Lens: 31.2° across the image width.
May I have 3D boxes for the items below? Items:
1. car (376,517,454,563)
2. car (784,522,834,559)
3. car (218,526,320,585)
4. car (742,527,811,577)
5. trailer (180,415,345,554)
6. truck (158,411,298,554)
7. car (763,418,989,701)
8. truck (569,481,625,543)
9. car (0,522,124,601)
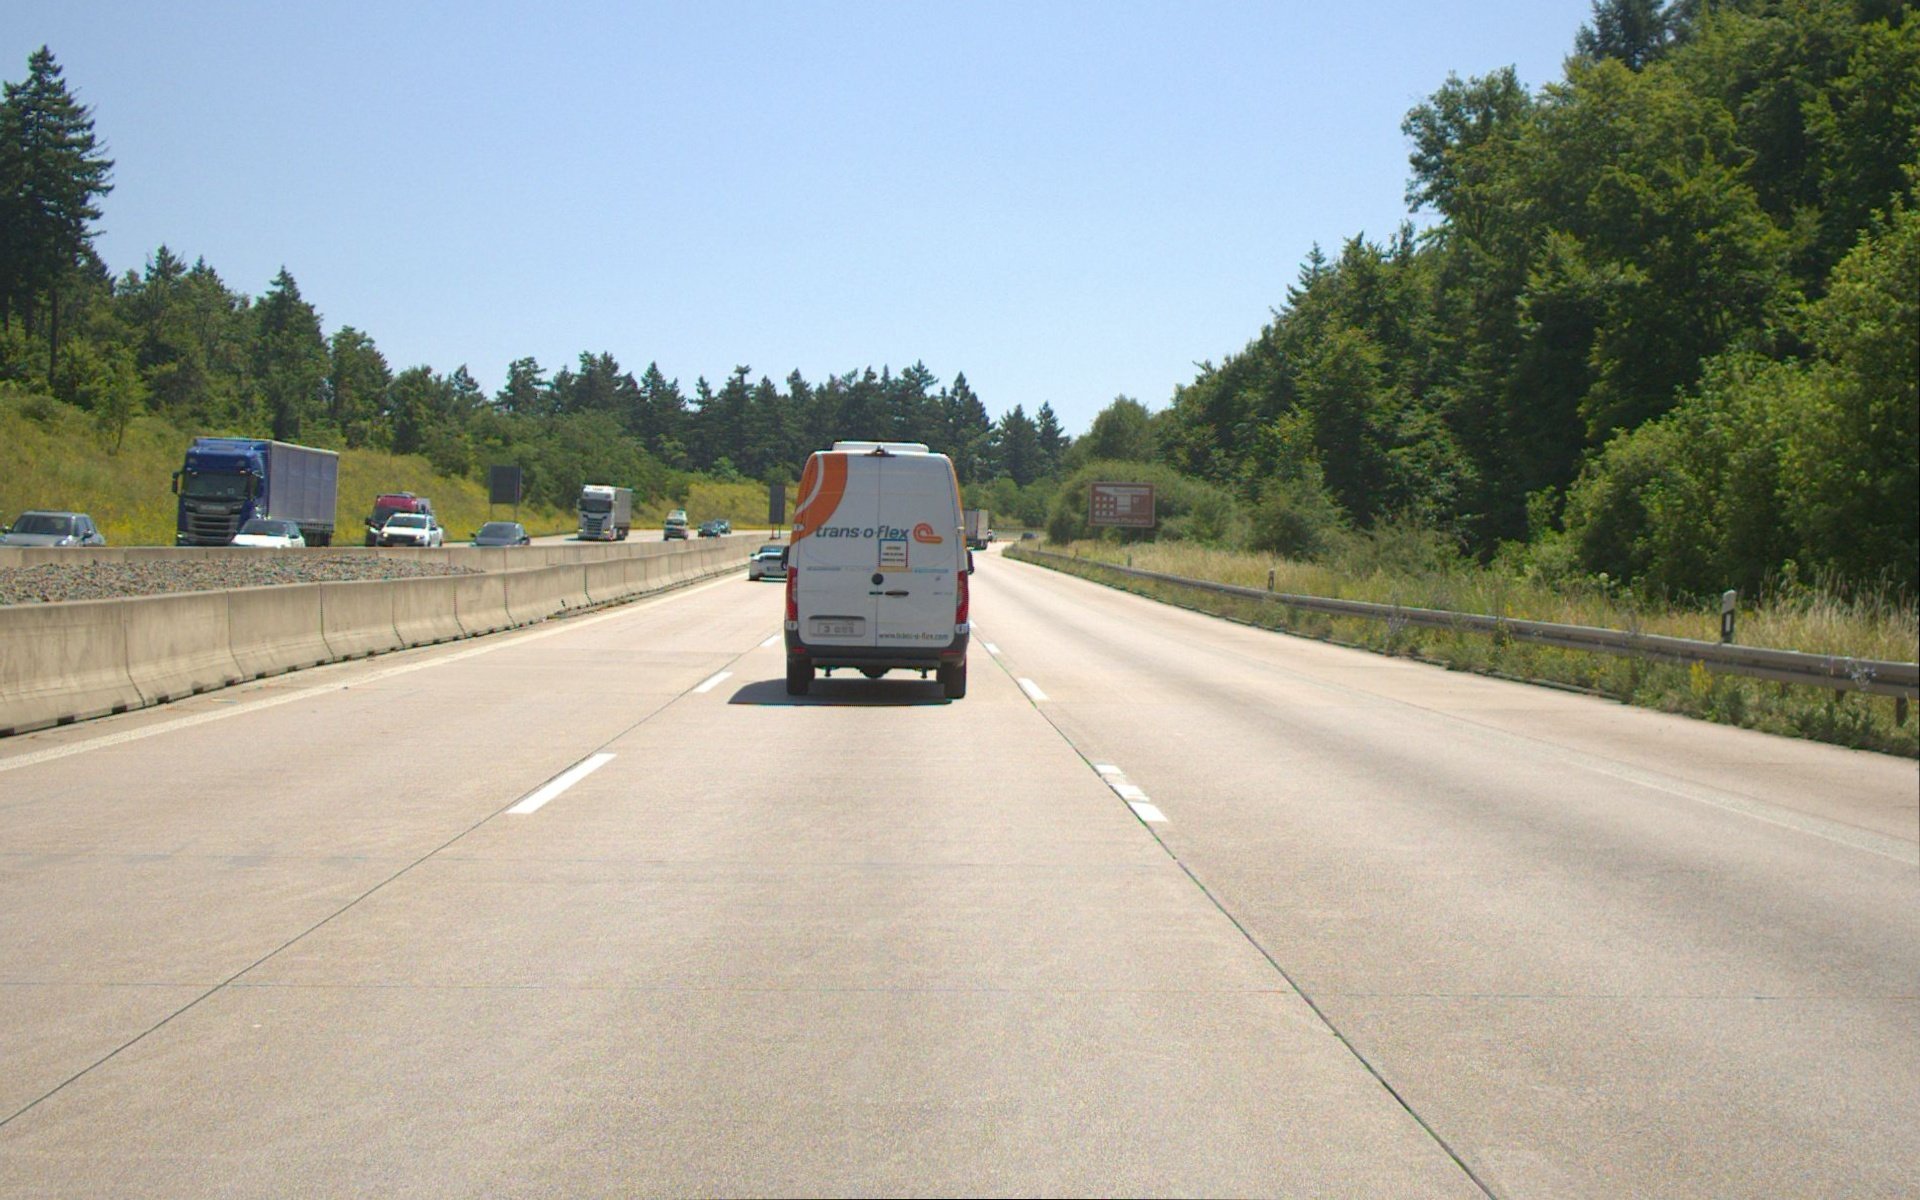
[{"bbox_3d":[-19.838,-2.194,125.358,1.993,1.577,5.519,2,1,-1],"label":"car"},{"bbox_3d":[-7.328,-2.895,167.445,1.994,1.678,4.000,2,1,3],"label":"car"},{"bbox_3d":[-19.689,-1.276,98.068,1.993,1.577,4.530,2,1,-1],"label":"car"},{"bbox_3d":[-6.534,-1.693,122.767,1.994,1.678,4.000,2,1,3],"label":"car"},{"bbox_3d":[-24.404,-3.924,121.060,3.256,4.489,13.740,2,1,-2],"label":"trailer"},{"bbox_3d":[-24.192,-3.829,113.905,3.256,4.489,6.575,2,1,-2],"label":"truck"},{"bbox_3d":[-0.933,-0.484,38.335,2.226,2.834,5.455,2,1,-1],"label":"car"},{"bbox_3d":[-27.210,-6.559,257.805,3.256,4.489,7.986,2,1,-1],"label":"truck"},{"bbox_3d":[-19.298,-0.835,73.077,1.993,1.577,4.430,2,1,-1],"label":"car"}]
